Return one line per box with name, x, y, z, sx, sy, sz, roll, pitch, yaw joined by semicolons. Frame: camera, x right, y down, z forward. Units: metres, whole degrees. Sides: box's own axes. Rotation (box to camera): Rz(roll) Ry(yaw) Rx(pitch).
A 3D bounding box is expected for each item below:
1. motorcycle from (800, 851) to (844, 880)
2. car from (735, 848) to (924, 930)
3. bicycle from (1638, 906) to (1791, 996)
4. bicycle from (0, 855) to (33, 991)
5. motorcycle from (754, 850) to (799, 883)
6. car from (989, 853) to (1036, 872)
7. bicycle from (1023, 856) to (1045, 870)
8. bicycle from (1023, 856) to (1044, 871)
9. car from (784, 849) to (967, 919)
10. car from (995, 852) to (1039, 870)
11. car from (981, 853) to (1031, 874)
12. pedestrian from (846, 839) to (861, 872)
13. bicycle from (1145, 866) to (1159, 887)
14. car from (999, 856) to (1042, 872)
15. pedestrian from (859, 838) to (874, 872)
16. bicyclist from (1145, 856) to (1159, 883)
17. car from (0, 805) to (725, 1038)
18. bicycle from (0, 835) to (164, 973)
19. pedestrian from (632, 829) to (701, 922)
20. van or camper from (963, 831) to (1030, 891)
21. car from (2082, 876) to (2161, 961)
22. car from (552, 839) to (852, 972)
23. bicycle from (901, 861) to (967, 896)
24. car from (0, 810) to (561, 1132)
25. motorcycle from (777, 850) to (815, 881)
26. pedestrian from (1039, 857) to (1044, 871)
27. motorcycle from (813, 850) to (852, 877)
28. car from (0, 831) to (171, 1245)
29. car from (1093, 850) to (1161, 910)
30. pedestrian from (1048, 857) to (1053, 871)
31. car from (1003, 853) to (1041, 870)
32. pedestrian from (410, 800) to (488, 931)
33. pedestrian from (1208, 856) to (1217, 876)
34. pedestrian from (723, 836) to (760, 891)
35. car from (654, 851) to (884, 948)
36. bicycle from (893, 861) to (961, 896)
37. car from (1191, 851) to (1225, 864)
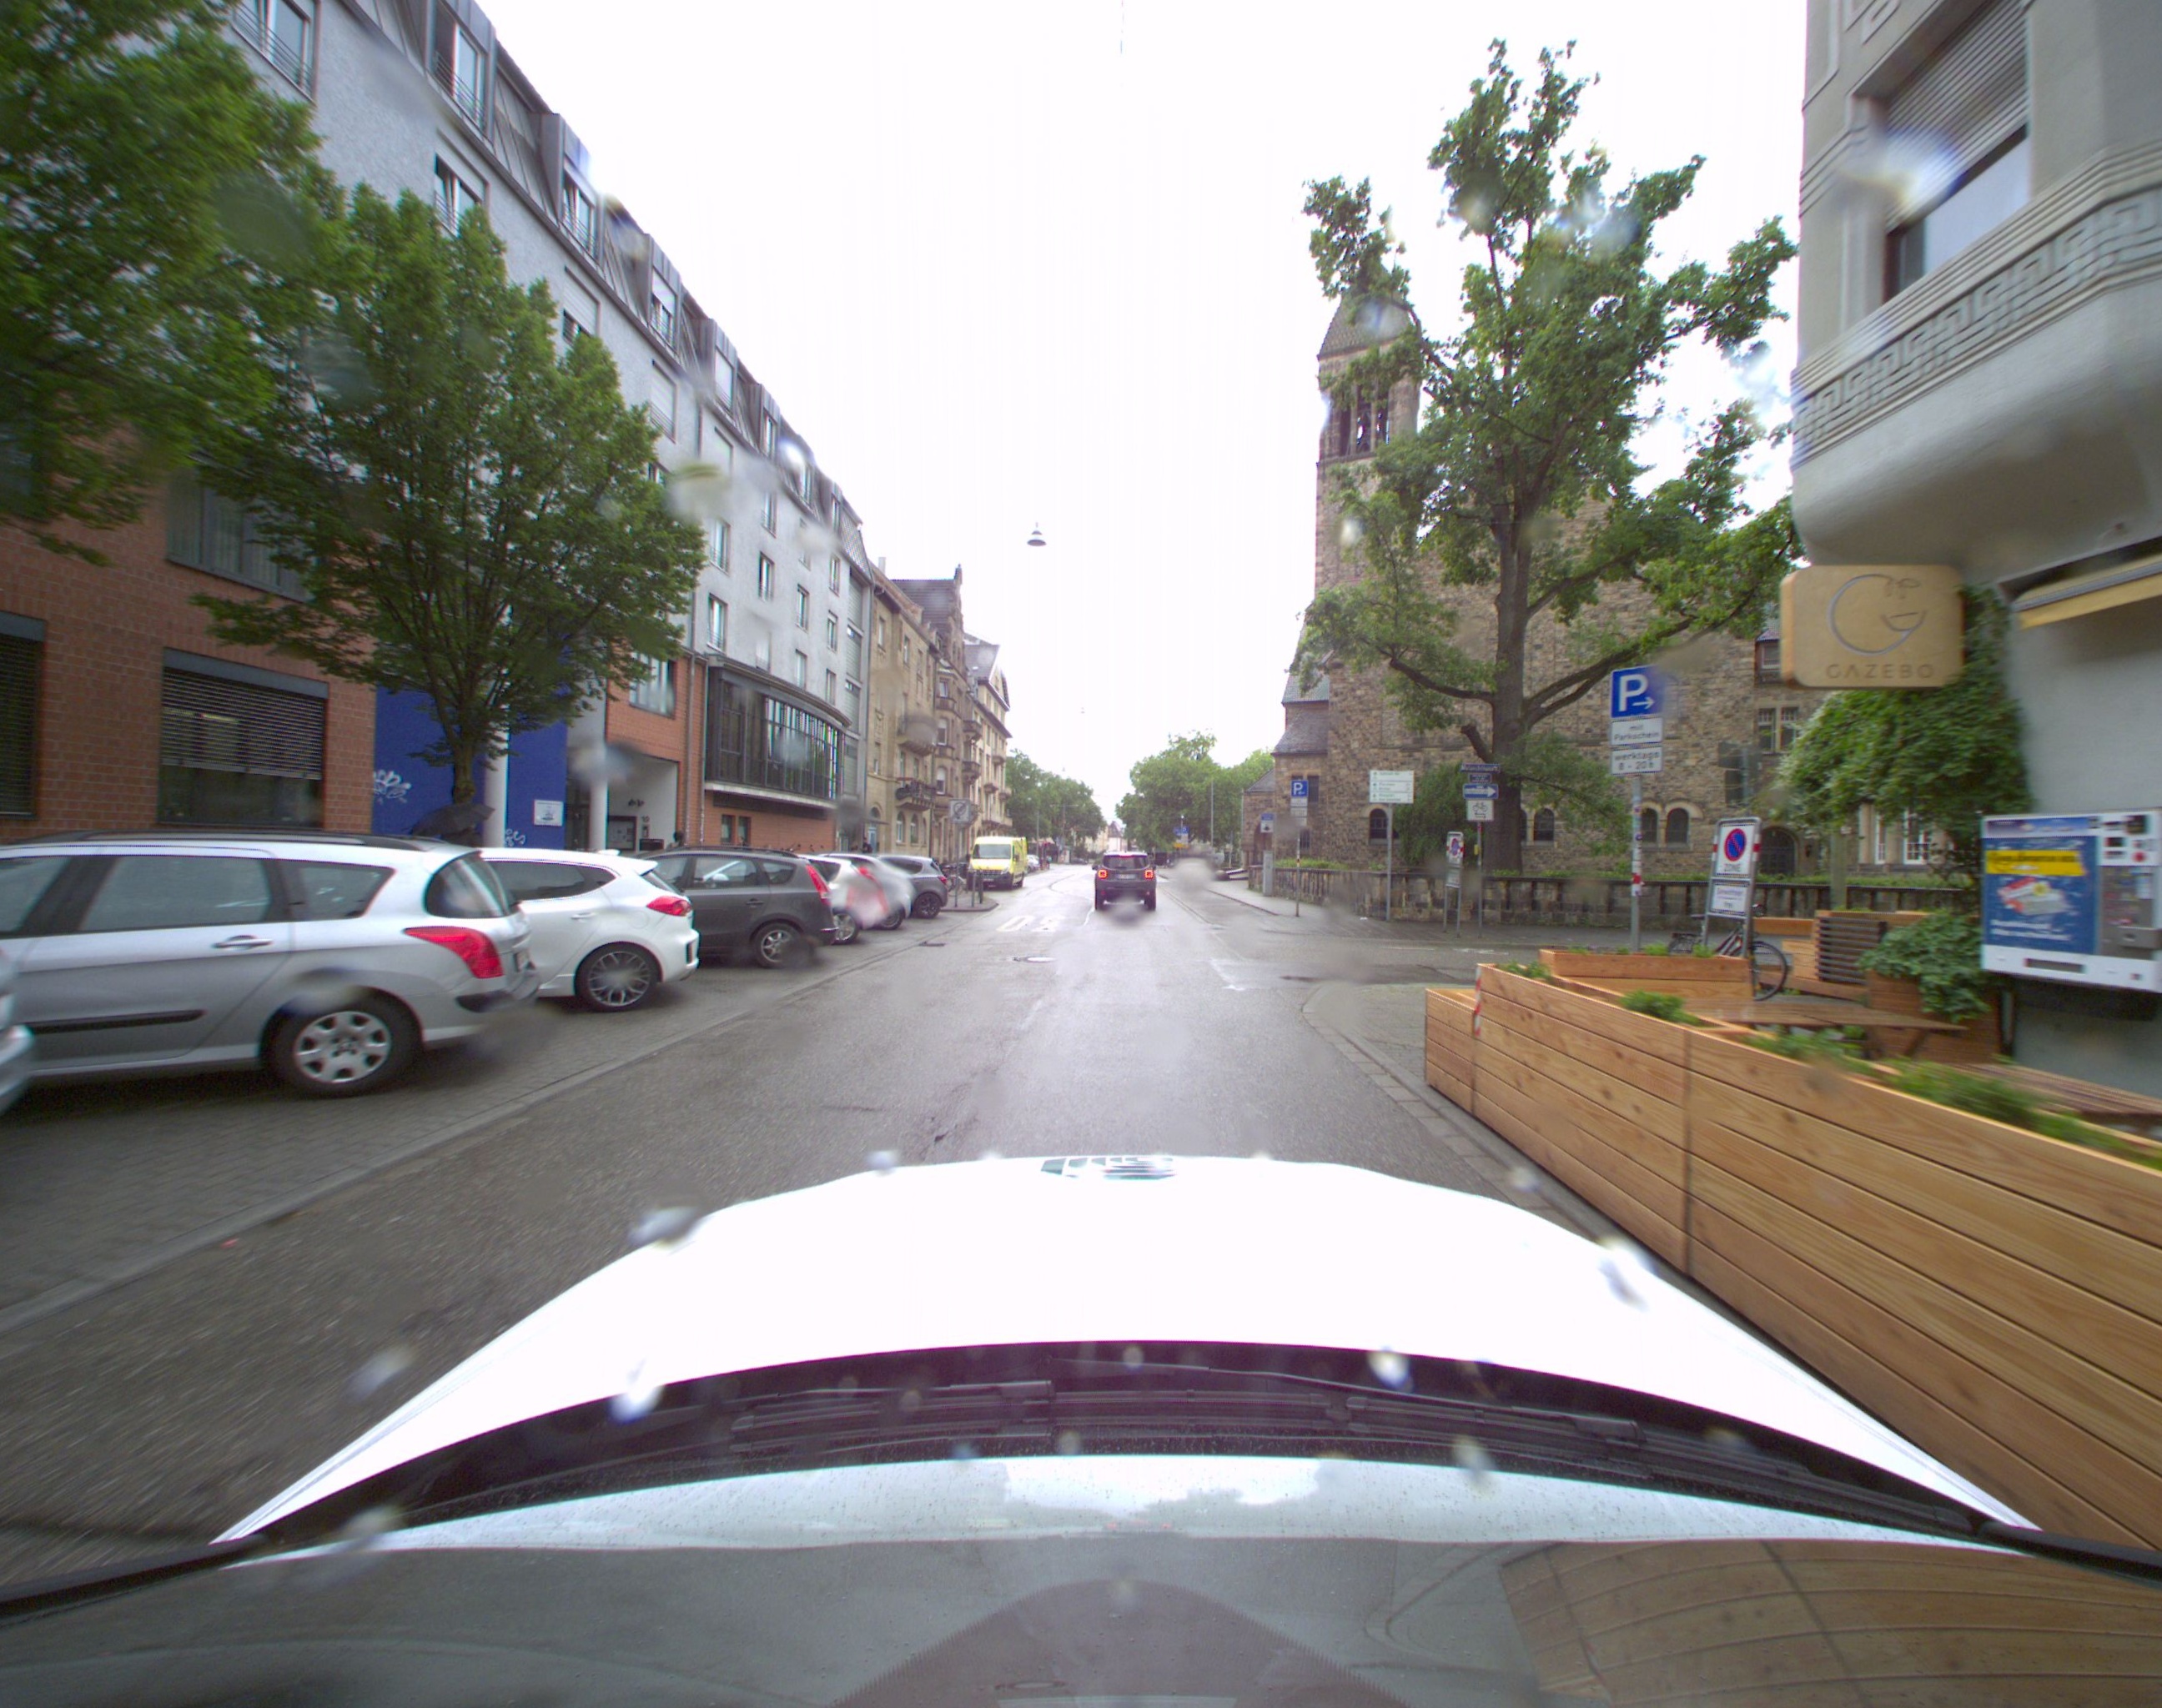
motorcycle;-11.160;0.505;35.159;0.748;1.174;2.124;3;0;15
car;-5.101;0.693;16.559;3.394;1.507;1.665;2;-1;-28
bicycle;7.747;1.142;10.078;0.450;0.979;1.921;1;-3;2
bicycle;-10.199;0.519;6.862;1.890;1.152;0.554;5;-1;0
motorcycle;-11.512;0.465;30.890;0.750;1.174;2.117;3;0;3
car;-5.884;0.722;70.197;3.518;1.518;1.867;3;-1;-31
bicycle;-4.786;0.936;82.705;2.115;1.444;0.536;0;0;-18
bicycle;-4.881;0.972;83.701;2.098;1.444;0.488;0;0;-18
car;-4.869;0.705;19.339;3.840;1.507;1.971;2;-1;-28
car;-5.940;0.665;75.941;3.753;1.559;1.655;3;-1;-31
car;-6.184;0.749;67.005;3.679;1.559;1.790;3;-1;-34
pedestrian;-11.704;0.094;41.858;0.663;1.675;0.791;0;0;-21
bicycle;3.748;1.196;43.093;0.702;1.054;1.814;0;0;3
car;-5.427;0.875;73.297;3.435;1.316;1.762;3;-1;-31
pedestrian;-11.073;0.058;42.115;0.663;1.757;0.791;0;0;-21
bicyclist;3.753;0.794;43.097;0.702;1.403;1.172;0;0;3
car;-5.921;0.616;7.471;4.538;1.539;2.315;5;-3;-31
bicycle;-10.170;0.450;7.854;1.890;1.152;0.554;5;-1;0
pedestrian;-8.137;0.412;16.027;0.820;1.752;0.759;3;0;9
van or camper;-3.916;0.443;38.994;2.113;2.531;6.877;-3;-2;2
car;22.456;1.289;15.809;3.825;1.556;1.716;1;1;2
car;-5.017;0.640;11.002;3.395;1.542;1.665;2;-1;-29
bicycle;-5.093;0.840;28.206;2.108;1.097;0.594;2;0;2
car;-5.392;0.603;5.217;3.397;1.654;1.618;0;0;-31
motorcycle;-11.531;0.449;33.046;0.751;1.174;2.115;3;0;-1
pedestrian;-4.350;1.077;90.278;0.466;1.585;0.660;1;0;1
motorcycle;-11.254;0.438;36.960;0.566;1.174;1.790;3;0;26
car;-5.665;0.643;2.341;3.728;1.452;1.668;0;0;-33
car;1.351;0.737;25.037;1.892;1.671;4.507;0;0;1
pedestrian;-3.432;1.116;90.904;0.466;1.585;0.752;1;0;1
car;-5.711;0.745;79.240;3.266;1.559;1.520;3;-1;-31
pedestrian;-8.396;0.154;10.828;0.609;1.707;0.433;1;-2;3
pedestrian;11.688;1.058;72.304;0.688;1.711;0.685;0;0;2
pedestrian;-10.060;0.273;24.137;0.704;1.551;0.609;3;0;9
car;-5.288;0.734;13.874;3.397;1.458;1.664;2;-1;-31
bicycle;-5.169;0.816;27.382;2.124;1.097;0.594;2;0;2
car;22.428;0.658;144.051;5.874;2.334;2.063;0;0;6
